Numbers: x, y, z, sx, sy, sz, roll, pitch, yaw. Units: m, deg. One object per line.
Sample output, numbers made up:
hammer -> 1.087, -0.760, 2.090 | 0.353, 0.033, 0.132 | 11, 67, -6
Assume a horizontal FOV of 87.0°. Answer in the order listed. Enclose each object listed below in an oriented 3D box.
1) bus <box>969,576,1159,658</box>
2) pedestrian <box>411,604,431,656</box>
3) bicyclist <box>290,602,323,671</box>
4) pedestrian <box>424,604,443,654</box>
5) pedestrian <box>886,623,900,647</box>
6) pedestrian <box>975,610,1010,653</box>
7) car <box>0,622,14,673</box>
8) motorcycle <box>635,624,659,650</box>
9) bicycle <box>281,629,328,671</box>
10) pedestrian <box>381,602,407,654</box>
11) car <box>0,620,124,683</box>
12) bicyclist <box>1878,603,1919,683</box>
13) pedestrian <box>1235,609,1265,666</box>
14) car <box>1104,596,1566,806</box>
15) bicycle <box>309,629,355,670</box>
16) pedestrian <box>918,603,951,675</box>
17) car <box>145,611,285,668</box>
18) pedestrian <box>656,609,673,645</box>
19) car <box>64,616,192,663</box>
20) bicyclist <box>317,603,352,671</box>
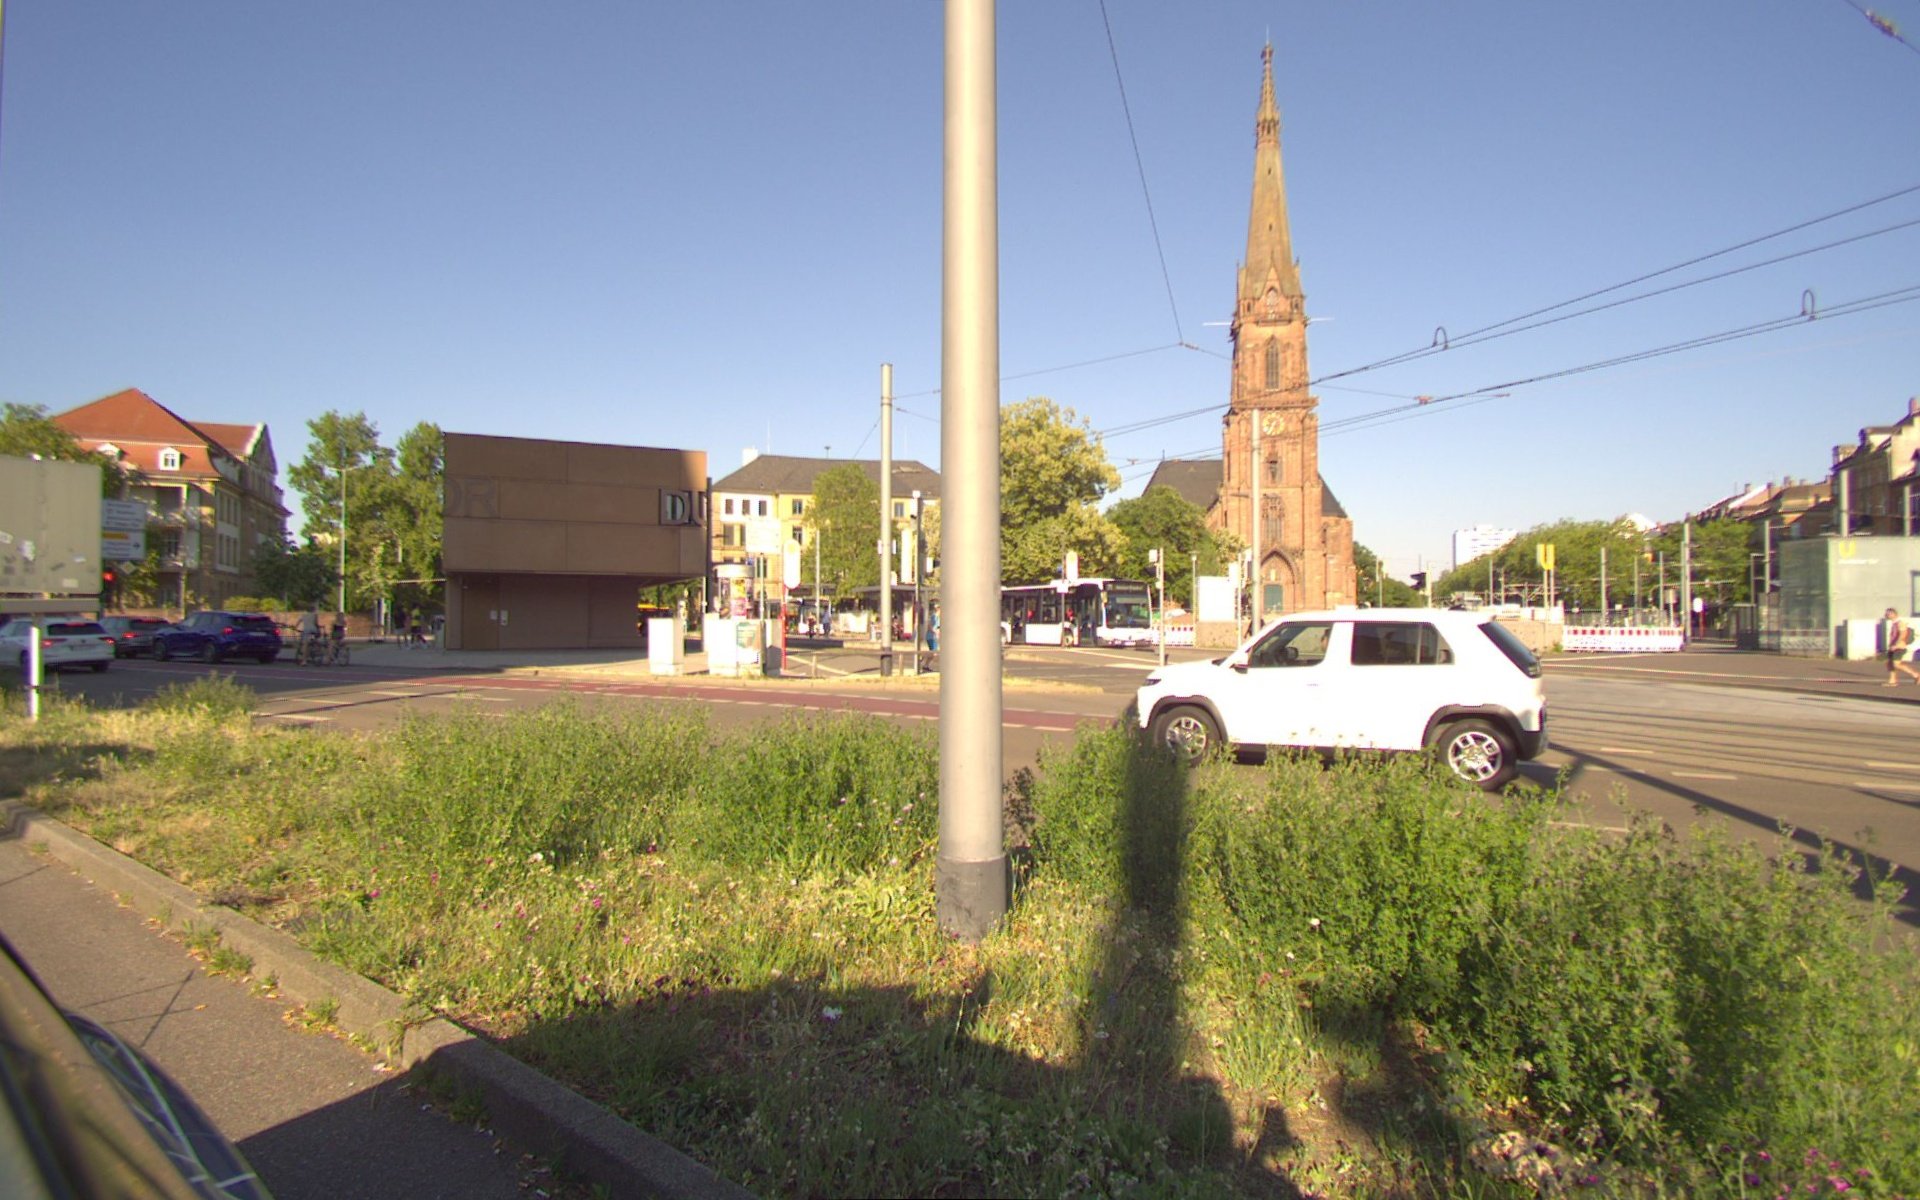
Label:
bus -> 4.235, 0.638, 45.676 | 2.655, 3.174, 12.216 | -1, 0, -25
pedestrian -> -21.307, 1.188, 40.017 | 0.645, 2.029, 0.470 | -1, 0, -31
bicyclist -> -19.431, 1.071, 30.080 | 0.562, 2.029, 0.606 | -1, -1, 24
pedestrian -> -21.389, 1.164, 41.130 | 0.645, 2.029, 0.470 | -1, 0, -31
pedestrian -> -3.469, 1.791, 52.128 | 0.531, 1.196, 0.660 | -1, 0, -23
pedestrian -> 1.299, 1.250, 40.747 | 1.025, 1.696, 1.007 | -1, 0, -27
car -> -29.921, 1.397, 29.847 | 4.170, 1.470, 1.740 | 0, 0, 28
motorcycle -> -13.530, 1.601, 43.745 | 0.935, 1.075, 0.331 | -1, 0, -13
bicycle -> -19.534, 1.486, 30.152 | 1.388, 1.201, 0.461 | 0, 0, 22
pedestrian -> -22.331, 1.091, 39.922 | 0.766, 2.029, 0.774 | -1, 0, -38
car -> -24.418, 1.316, 26.953 | 4.373, 1.503, 1.832 | 0, 0, 29
bicyclist -> 20.807, 0.915, 22.144 | 0.963, 1.696, 0.669 | -1, 0, -19
pedestrian -> 9.369, 1.202, 32.714 | 0.702, 1.771, 0.584 | -1, 0, -32
car -> 3.613, 0.817, 9.968 | 3.988, 1.674, 1.766 | 0, 0, 33
bicycle -> -18.984, 1.476, 30.594 | 1.388, 1.201, 0.461 | 0, 0, 22
pedestrian -> -0.681, 1.030, 27.114 | 0.786, 1.911, 0.612 | 0, -1, -11
car -> -23.240, 1.186, 31.559 | 4.165, 1.703, 1.742 | 0, -1, 25
pedestrian -> -16.961, 1.570, 58.071 | 0.761, 2.029, 0.779 | -1, 0, -3
car -> -28.275, 1.338, 34.362 | 4.373, 1.503, 1.832 | 0, -3, 29
bicyclist -> -18.975, 1.108, 30.698 | 0.705, 2.029, 0.606 | -1, -1, 24
